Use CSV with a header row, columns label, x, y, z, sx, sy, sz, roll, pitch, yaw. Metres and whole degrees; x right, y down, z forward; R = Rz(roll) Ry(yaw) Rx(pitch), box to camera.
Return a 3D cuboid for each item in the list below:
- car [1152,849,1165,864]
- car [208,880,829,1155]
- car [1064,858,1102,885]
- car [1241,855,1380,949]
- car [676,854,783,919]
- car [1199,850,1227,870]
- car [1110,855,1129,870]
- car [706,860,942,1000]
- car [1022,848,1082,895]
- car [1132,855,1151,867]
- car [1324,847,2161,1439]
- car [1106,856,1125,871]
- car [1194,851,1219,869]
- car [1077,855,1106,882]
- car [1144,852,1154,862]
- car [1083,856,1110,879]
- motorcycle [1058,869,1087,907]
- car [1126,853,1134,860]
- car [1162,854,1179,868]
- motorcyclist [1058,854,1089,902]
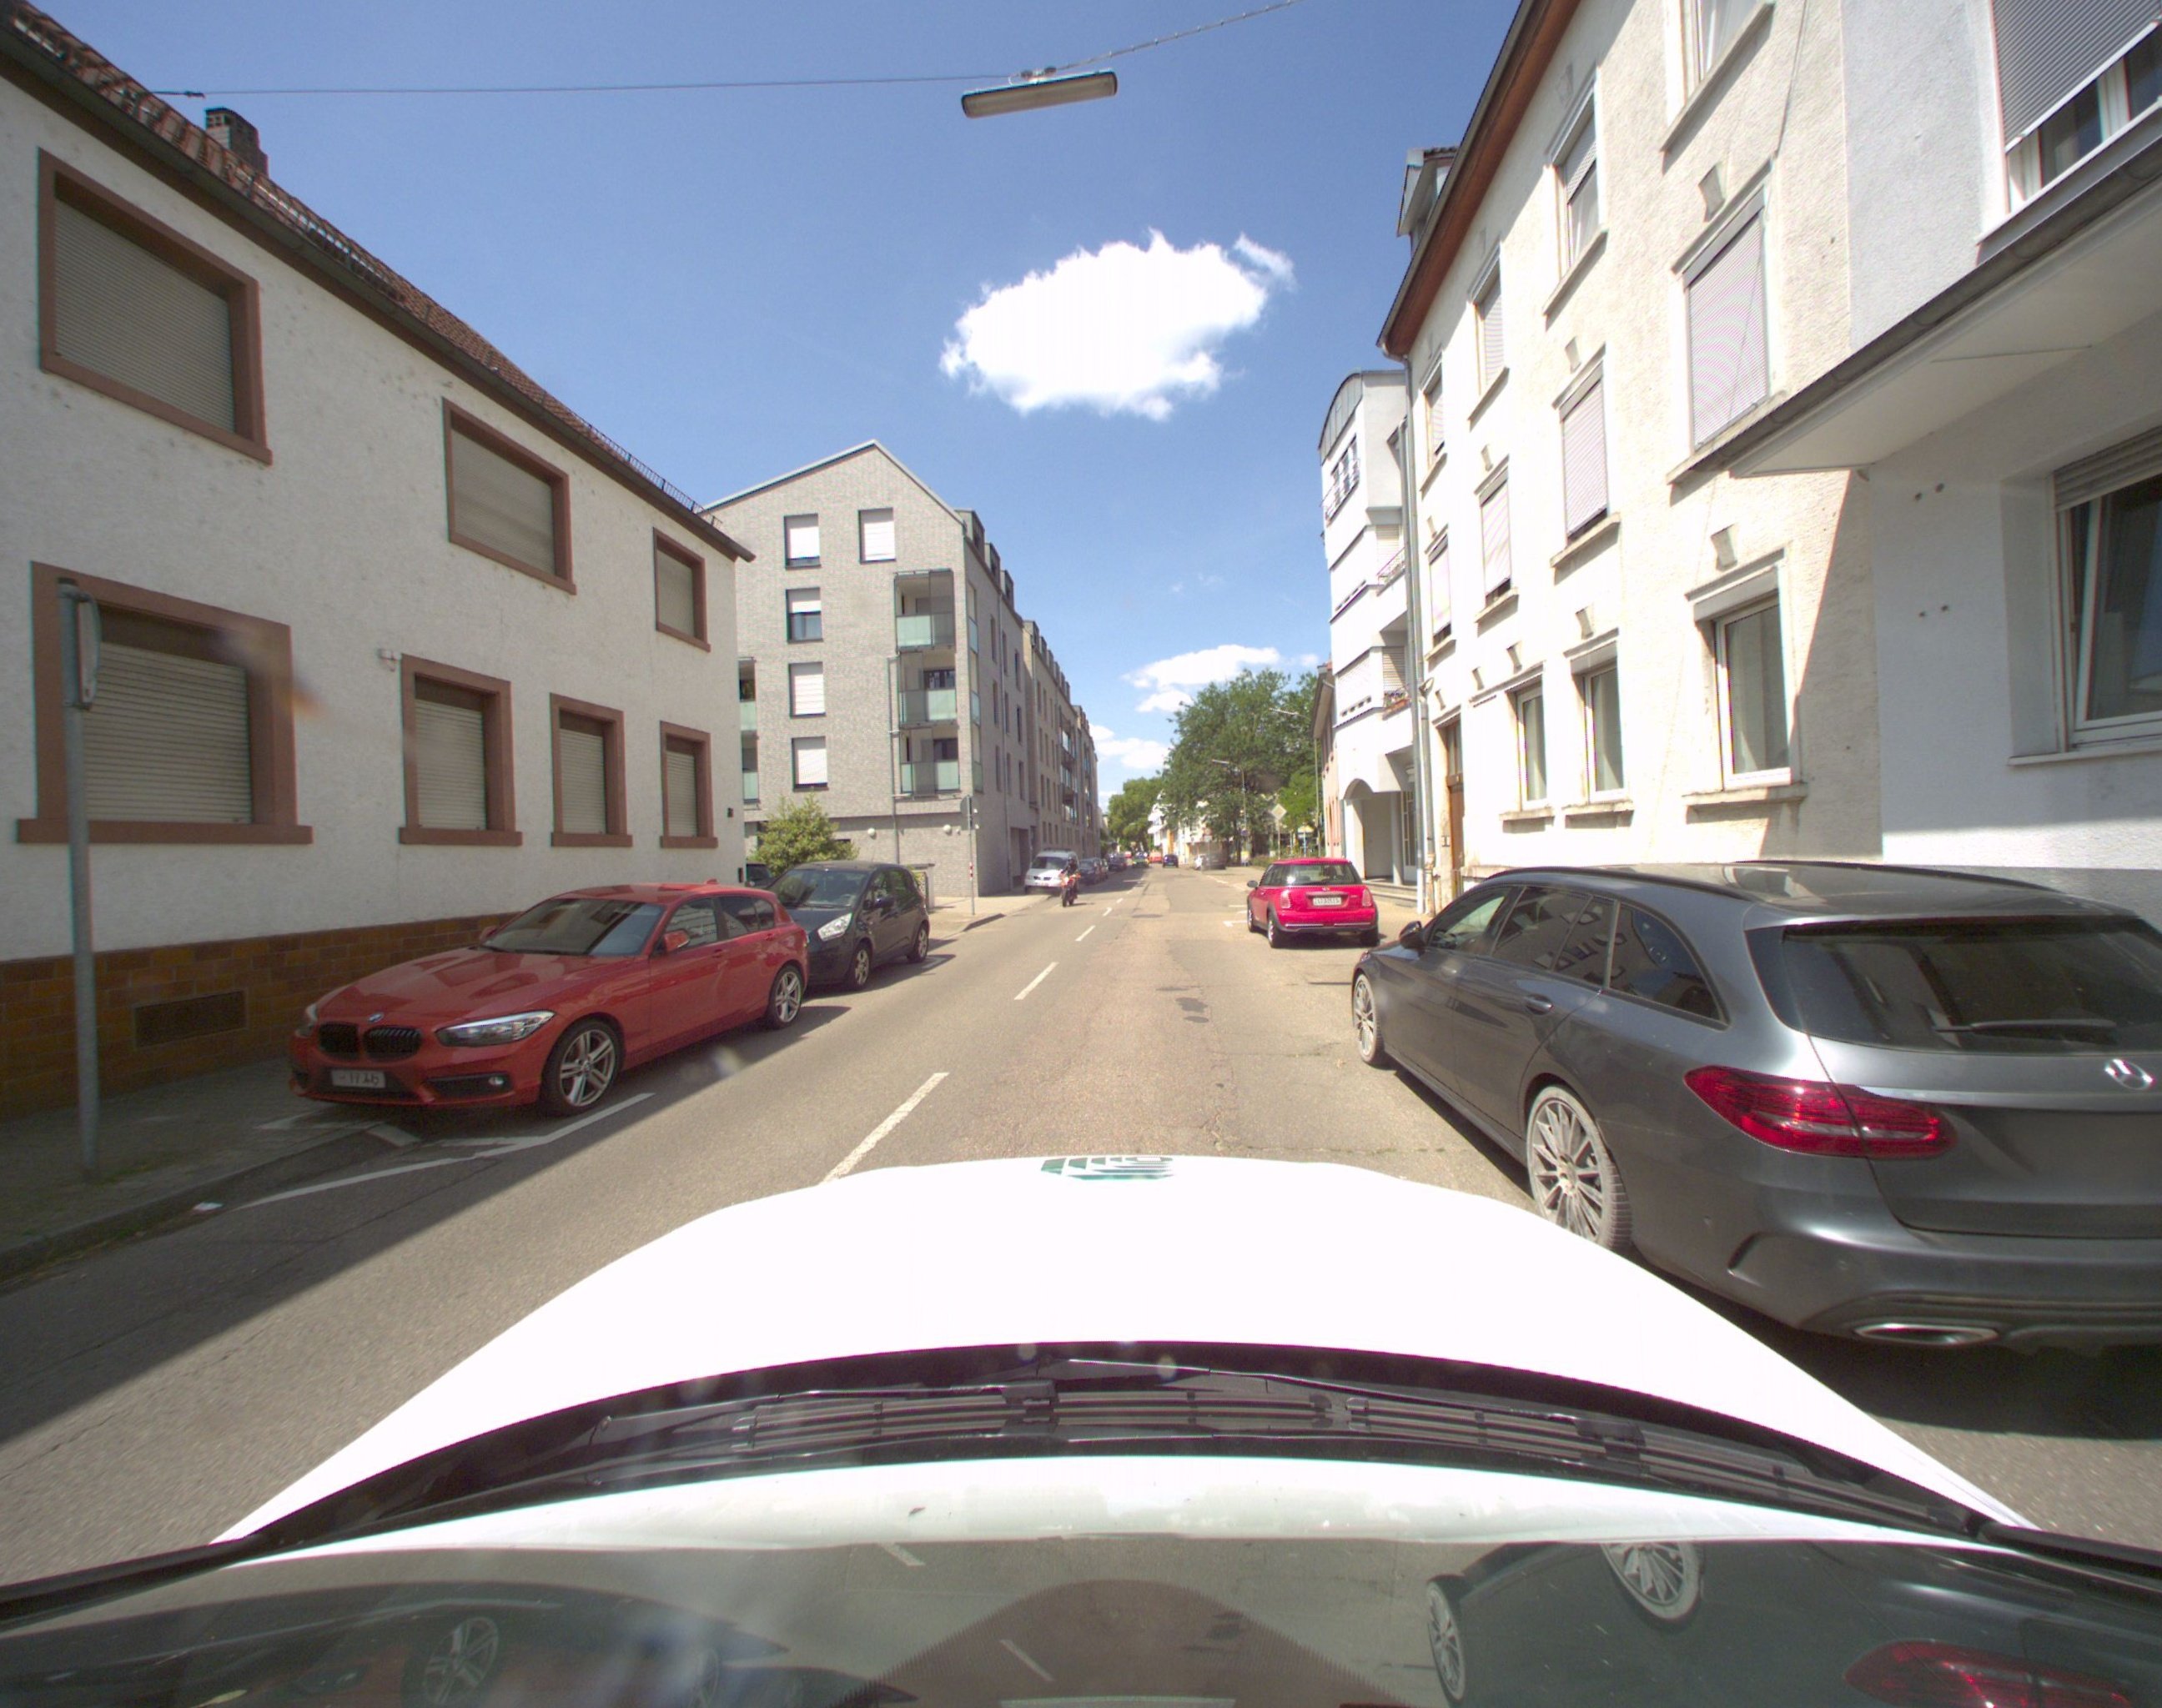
label,x,y,z,sx,sy,sz,roll,pitch,yaw
car,11.529,0.342,120.782,1.830,2.013,4.007,-3,0,6
car,-3.972,1.034,6.863,1.823,1.417,4.299,-2,0,8
car,0.154,0.996,47.066,1.714,1.456,4.012,-1,0,7
car,3.860,0.740,14.249,1.611,1.385,3.542,-2,0,4
car,-9.281,0.781,21.394,1.647,1.539,3.522,-1,0,-40
car,10.407,0.483,64.413,1.684,1.420,4.005,-5,-1,4
car,4.156,0.900,87.288,1.724,1.442,4.005,-3,0,5
car,-3.460,0.940,11.833,1.785,1.646,3.952,-1,0,6
car,-1.155,0.675,34.646,1.746,1.892,4.348,0,0,9
car,7.009,0.782,94.016,1.983,1.381,4.402,-1,0,7
car,2.707,0.727,4.284,1.721,1.420,4.549,-3,0,4
car,3.497,0.944,82.241,1.724,1.442,4.005,-3,0,5
car,10.874,0.511,70.702,1.771,1.420,4.005,-3,0,4
car,0.705,0.900,52.192,1.583,1.554,3.576,-2,0,5
car,11.875,0.460,142.179,1.704,1.634,3.707,-3,0,3
car,1.104,0.908,56.436,1.583,1.456,3.708,-1,0,5
motorcycle,-0.265,1.095,26.875,0.684,1.122,2.031,-3,0,6
car,13.754,0.697,228.239,2.145,2.013,4.008,-3,0,7
car,9.690,0.742,88.428,1.707,1.402,4.007,-3,0,6
motorcyclist,-0.232,0.768,26.898,0.818,1.509,1.058,-3,0,6
